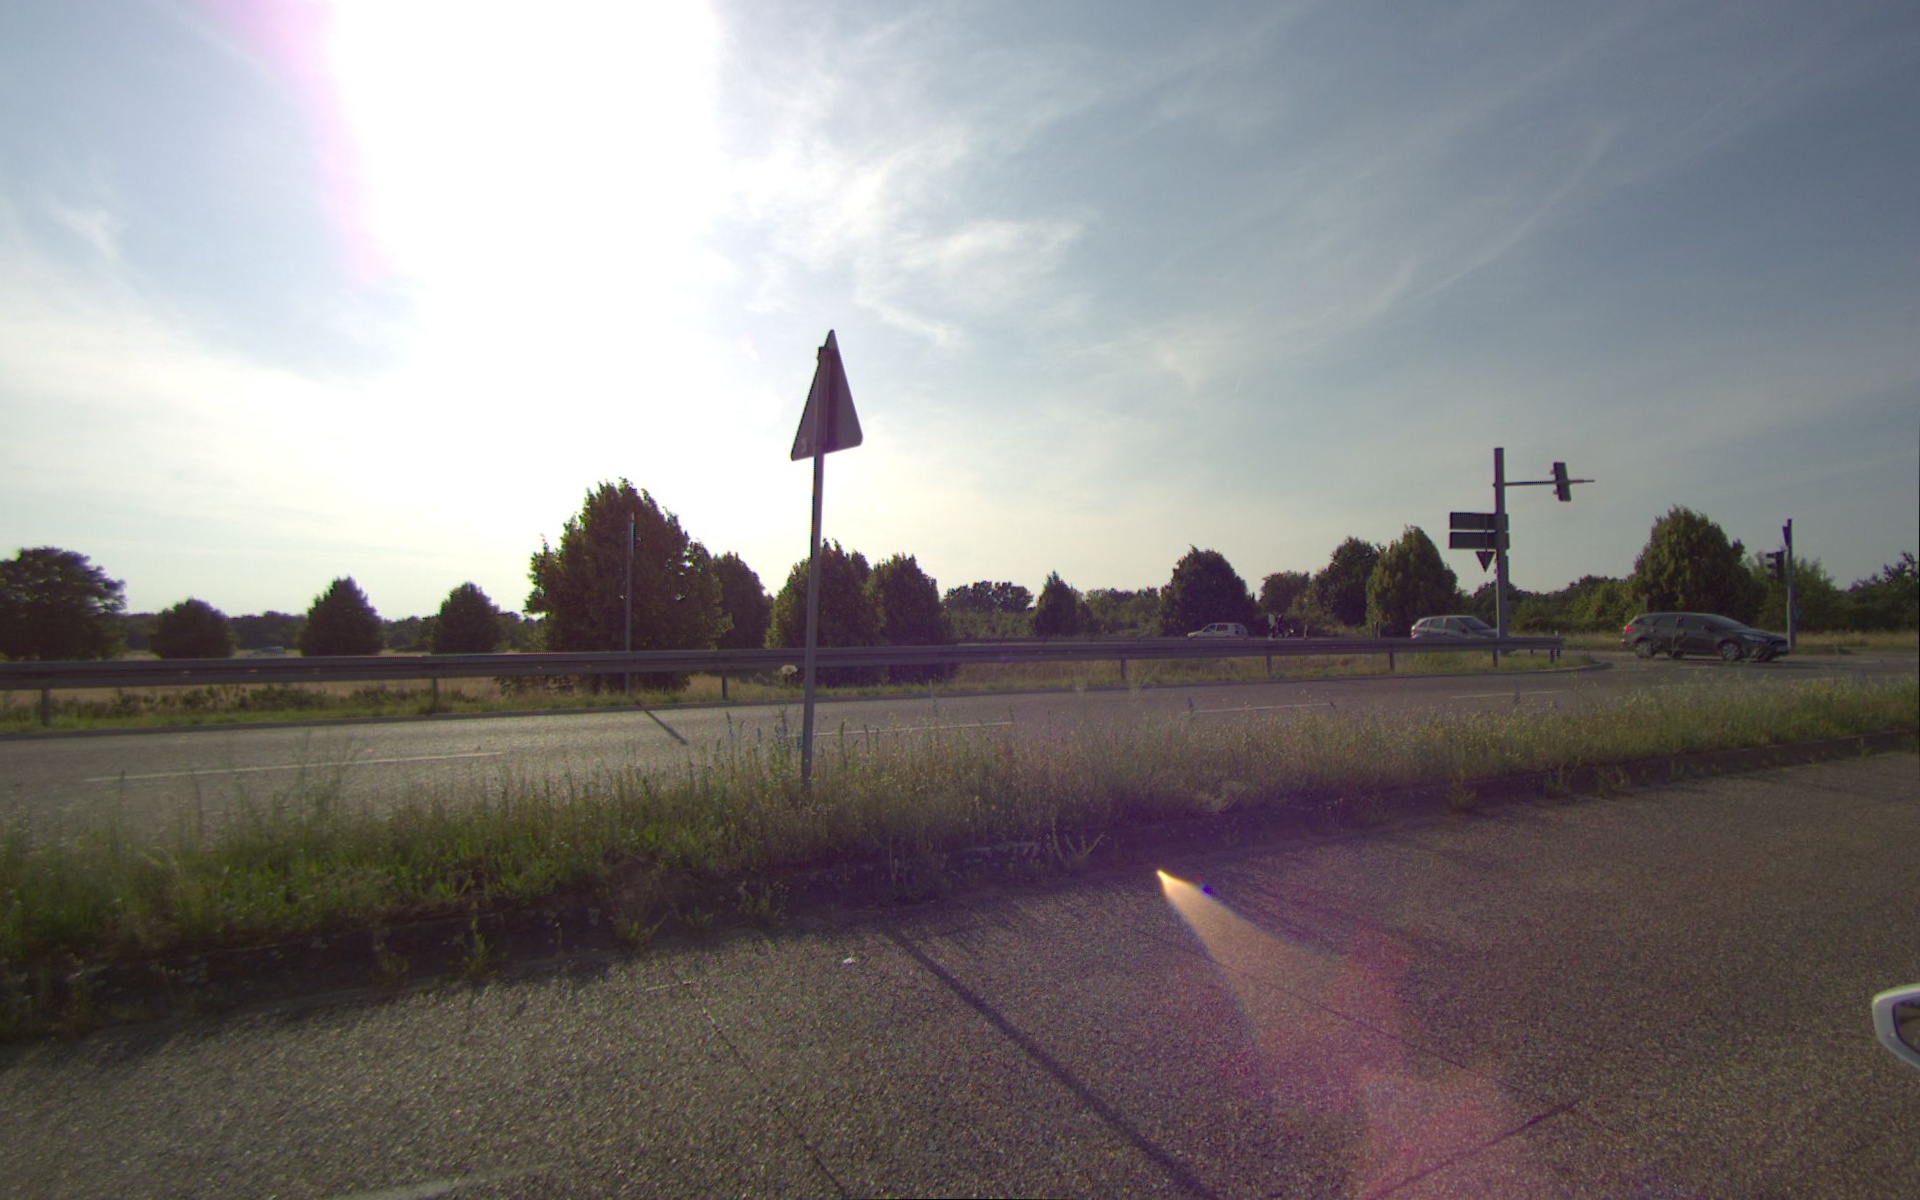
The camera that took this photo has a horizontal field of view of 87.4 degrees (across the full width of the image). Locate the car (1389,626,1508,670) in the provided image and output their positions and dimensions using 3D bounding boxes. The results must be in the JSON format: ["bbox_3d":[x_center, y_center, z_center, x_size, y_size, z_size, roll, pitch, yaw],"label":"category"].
[{"bbox_3d":[19.923,1.933,41.148,1.767,1.626,4.168,2,-1,-26],"label":"car"}]

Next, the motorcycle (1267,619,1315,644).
[{"bbox_3d":[16.521,1.561,50.225,0.931,1.139,2.149,0,0,-36],"label":"motorcycle"}]

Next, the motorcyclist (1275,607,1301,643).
[{"bbox_3d":[16.440,1.238,50.329,0.898,1.781,0.823,0,0,-36],"label":"motorcyclist"}]

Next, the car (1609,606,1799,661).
[{"bbox_3d":[23.145,0.989,31.468,1.791,1.586,4.503,1,0,-25],"label":"car"}]

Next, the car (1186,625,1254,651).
[{"bbox_3d":[16.734,2.420,64.811,1.981,1.560,3.960,1,-1,-36],"label":"car"}]
